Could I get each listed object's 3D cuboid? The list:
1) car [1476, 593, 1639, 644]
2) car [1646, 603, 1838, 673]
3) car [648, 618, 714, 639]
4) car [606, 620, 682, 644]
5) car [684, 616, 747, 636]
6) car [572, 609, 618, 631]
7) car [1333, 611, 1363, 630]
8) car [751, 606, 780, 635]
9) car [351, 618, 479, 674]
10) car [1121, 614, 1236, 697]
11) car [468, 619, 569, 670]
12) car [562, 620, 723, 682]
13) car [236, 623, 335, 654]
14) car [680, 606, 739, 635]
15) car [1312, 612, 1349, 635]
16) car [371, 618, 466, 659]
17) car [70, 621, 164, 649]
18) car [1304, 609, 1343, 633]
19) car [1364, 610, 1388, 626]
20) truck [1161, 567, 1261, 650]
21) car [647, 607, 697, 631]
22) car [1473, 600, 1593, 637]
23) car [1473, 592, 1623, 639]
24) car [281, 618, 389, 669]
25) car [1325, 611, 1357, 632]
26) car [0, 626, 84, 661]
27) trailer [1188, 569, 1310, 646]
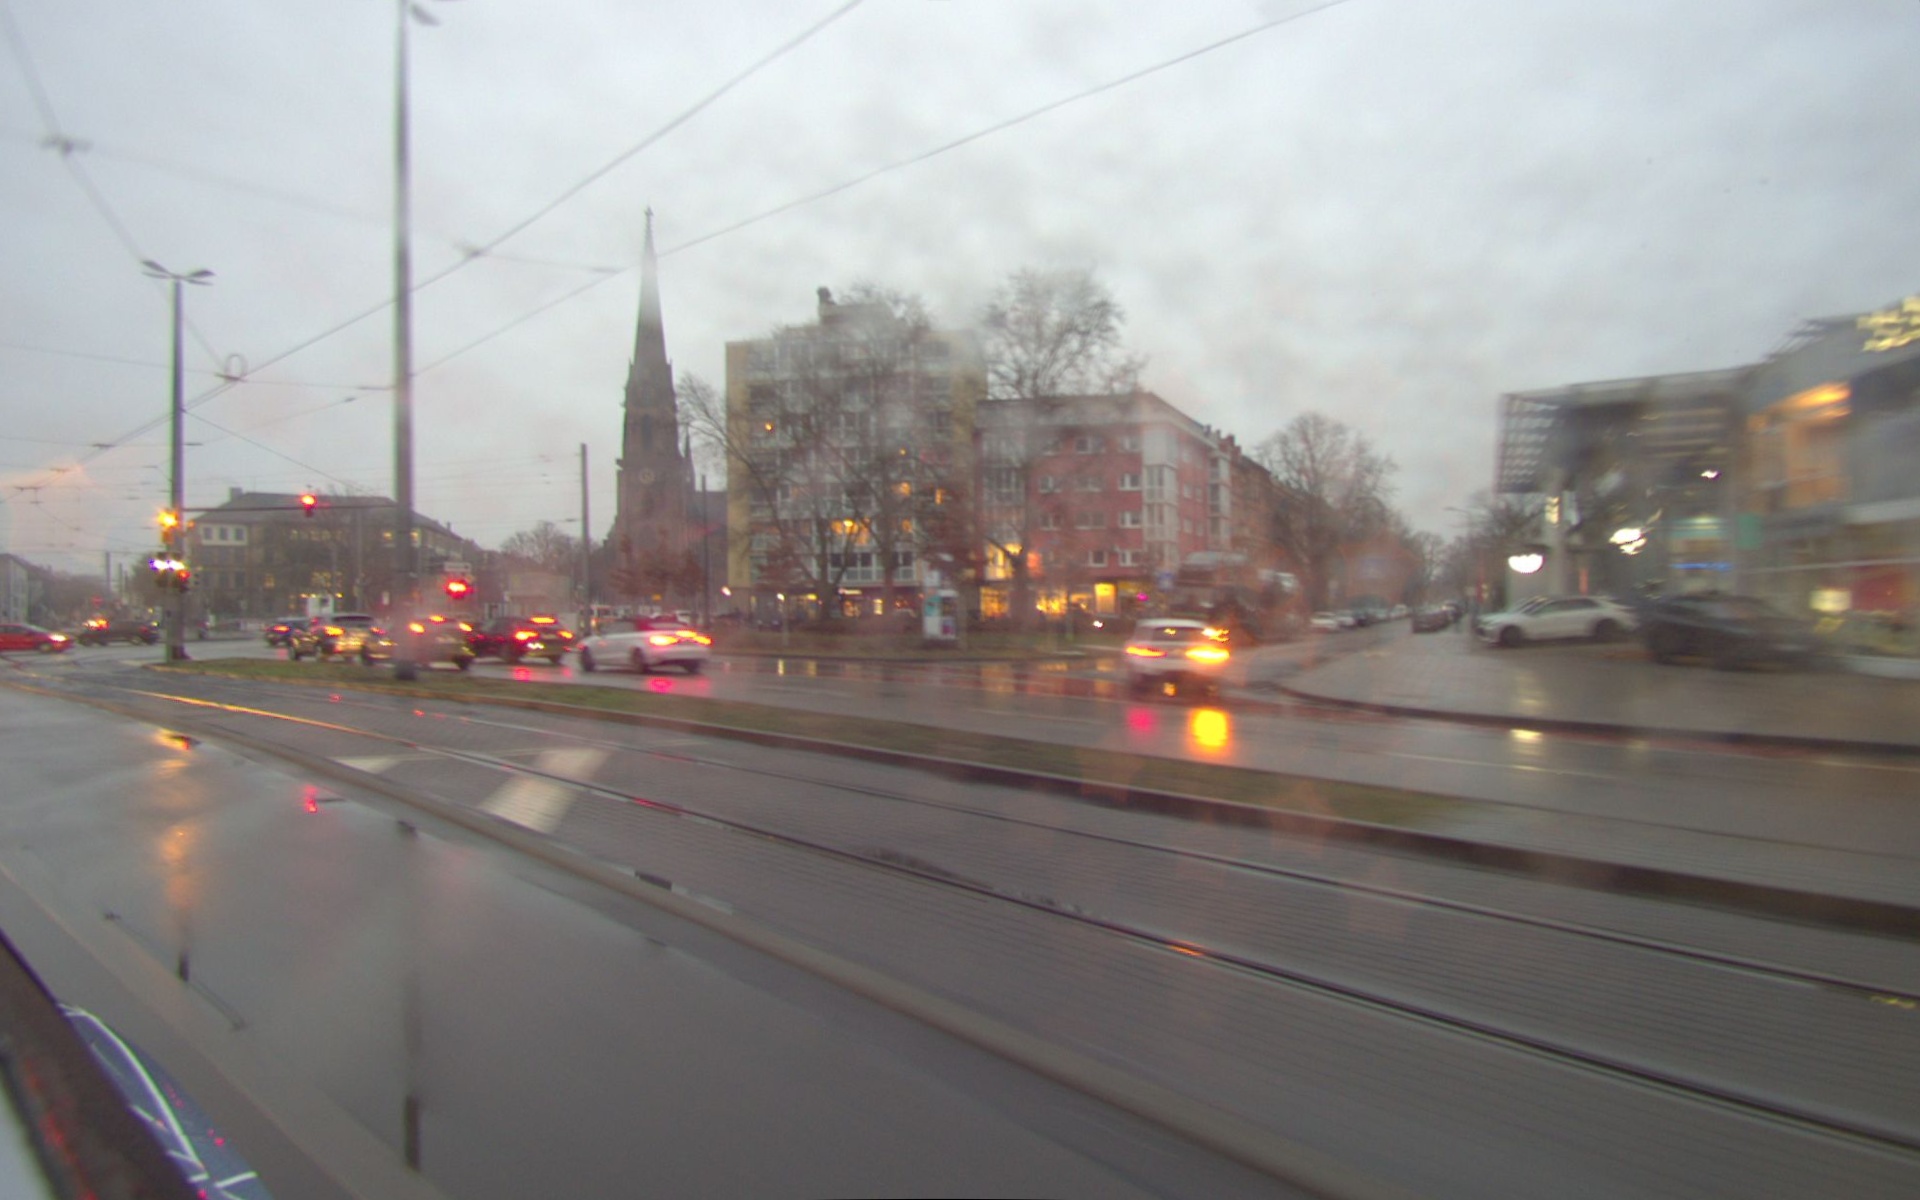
[{"bbox_3d":[19.149,0.585,32.623,4.404,1.534,1.865,-1,0,31],"label":"car"},{"bbox_3d":[17.563,0.801,23.010,1.725,1.409,4.277,-1,0,12],"label":"car"},{"bbox_3d":[-19.068,1.907,69.211,3.947,1.320,1.998,-1,0,3],"label":"car"},{"bbox_3d":[-19.156,1.921,61.494,3.947,1.320,1.998,-1,0,3],"label":"car"},{"bbox_3d":[-17.281,1.829,71.740,3.947,1.320,1.998,-1,0,3],"label":"car"},{"bbox_3d":[-31.307,1.705,86.968,1.804,1.807,4.555,-1,0,9],"label":"car"},{"bbox_3d":[35.243,1.853,91.812,1.961,1.674,3.960,-1,-1,29],"label":"car"},{"bbox_3d":[-14.374,1.482,75.068,1.968,2.029,4.008,-1,0,-9],"label":"car"},{"bbox_3d":[-14.942,1.226,27.685,3.999,1.401,1.851,-1,-3,42],"label":"car"},{"bbox_3d":[4.446,1.071,21.219,1.977,1.509,4.798,-1,0,8],"label":"car"},{"bbox_3d":[-13.615,1.333,31.139,3.471,1.429,1.583,-1,-1,42],"label":"car"},{"bbox_3d":[-8.387,1.274,26.524,4.587,1.432,1.972,-1,-1,42],"label":"car"},{"bbox_3d":[-37.070,2.095,55.709,1.817,1.580,4.223,-1,-1,29],"label":"car"},{"bbox_3d":[-18.837,1.537,76.177,3.947,2.029,1.998,-1,0,3],"label":"car"},{"bbox_3d":[28.373,1.764,77.451,1.992,1.674,3.960,-1,-1,29],"label":"car"},{"bbox_3d":[-19.413,1.343,36.220,3.998,1.368,1.706,-1,-1,41],"label":"car"},{"bbox_3d":[-51.390,2.128,61.750,3.932,1.564,2.006,-1,0,-15],"label":"car"},{"bbox_3d":[26.314,1.527,73.134,1.992,1.674,3.960,-1,-1,29],"label":"car"},{"bbox_3d":[45.765,1.977,111.361,1.961,1.674,3.960,-1,-1,29],"label":"car"},{"bbox_3d":[11.412,0.330,45.512,2.647,3.443,6.688,-1,0,30],"label":"truck"},{"bbox_3d":[-25.626,1.687,89.986,3.931,2.029,2.007,-1,0,-25],"label":"car"},{"bbox_3d":[24.771,0.793,43.842,4.404,1.534,1.865,-1,0,31],"label":"car"},{"bbox_3d":[20.358,0.545,35.191,4.404,1.534,1.865,-1,0,31],"label":"car"},{"bbox_3d":[-20.033,1.338,32.374,3.998,1.497,1.880,-1,-1,41],"label":"car"},{"bbox_3d":[31.676,1.766,84.100,1.961,1.674,3.960,-1,-1,29],"label":"car"},{"bbox_3d":[-44.342,2.052,47.834,4.025,1.541,2.007,-1,0,-21],"label":"car"},{"bbox_3d":[15.362,0.280,52.560,2.626,3.443,14.906,-1,0,29],"label":"trailer"}]
